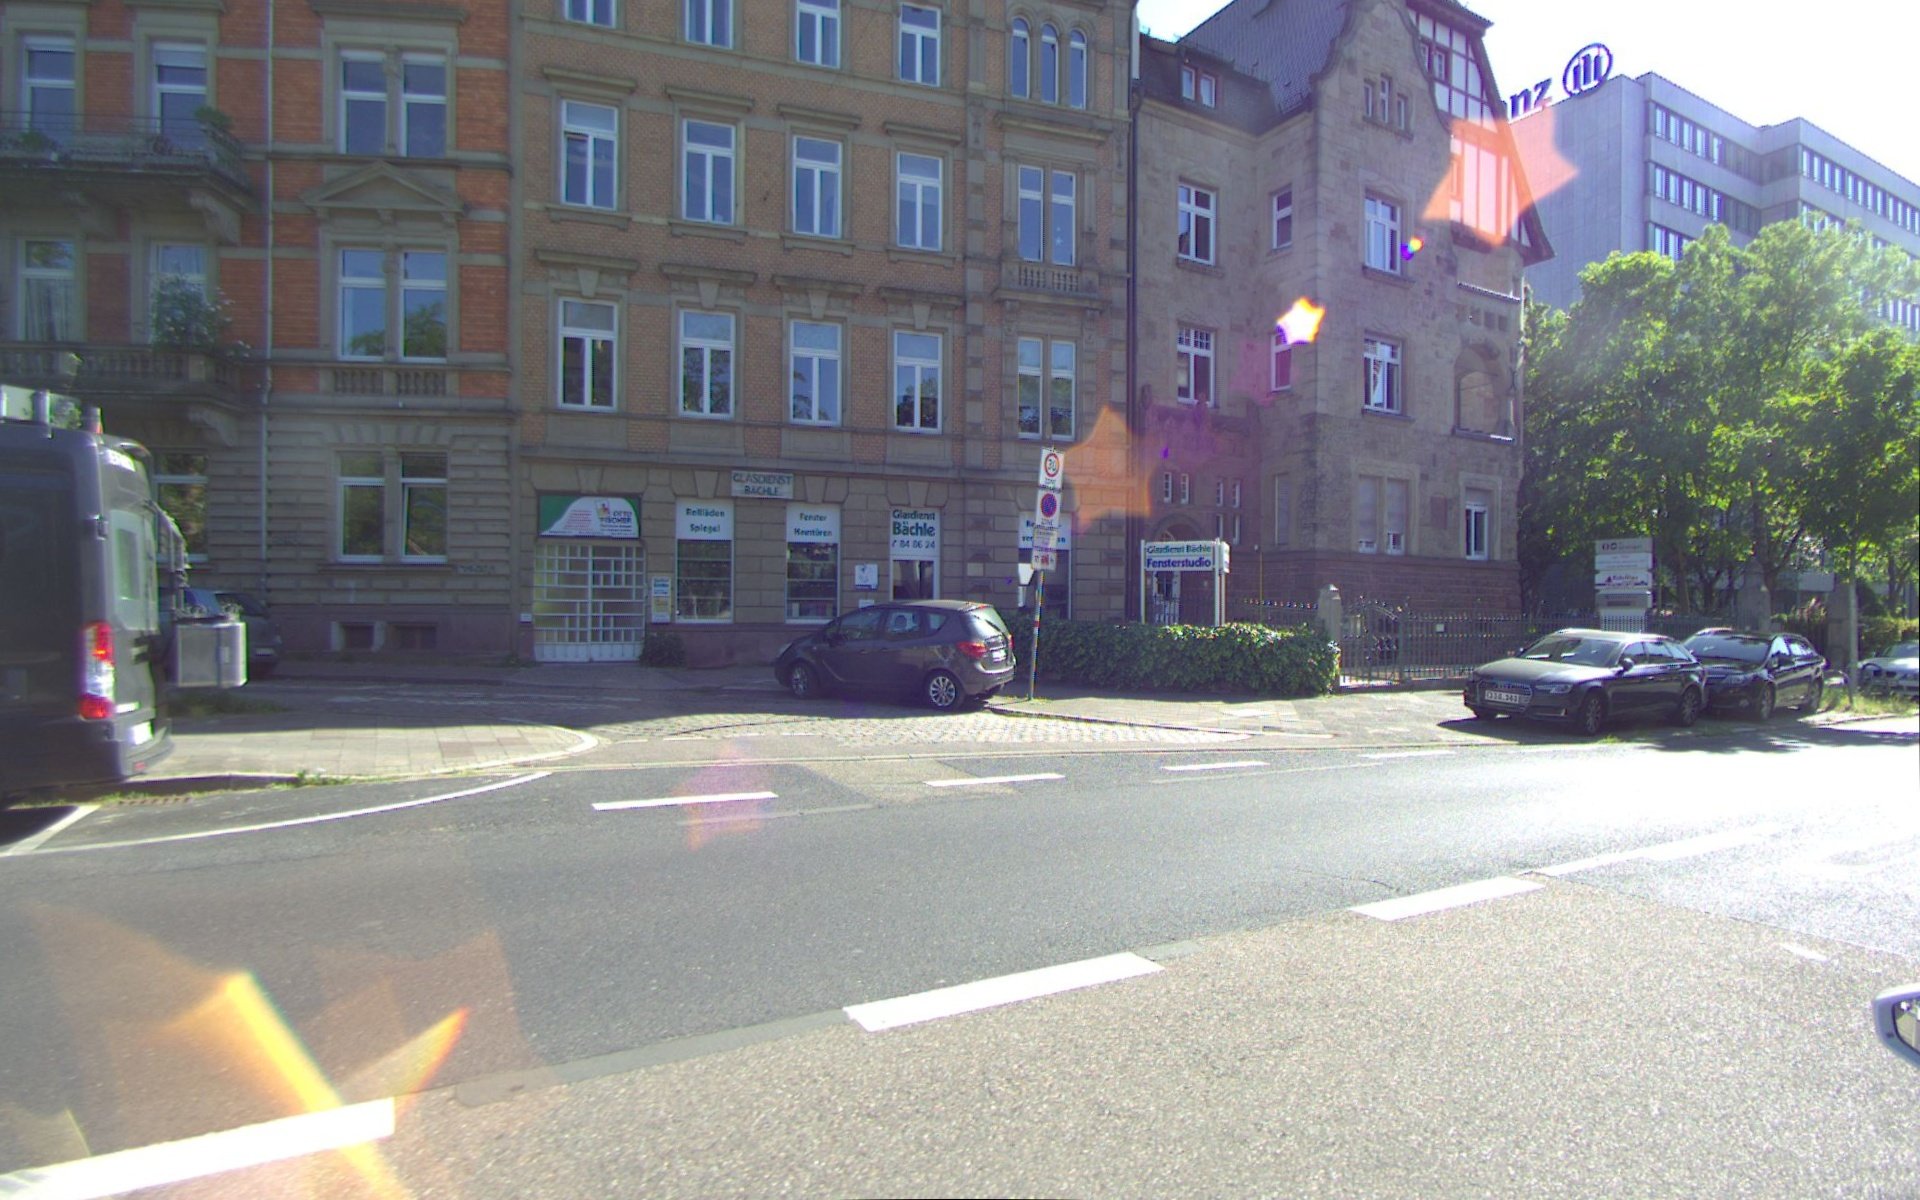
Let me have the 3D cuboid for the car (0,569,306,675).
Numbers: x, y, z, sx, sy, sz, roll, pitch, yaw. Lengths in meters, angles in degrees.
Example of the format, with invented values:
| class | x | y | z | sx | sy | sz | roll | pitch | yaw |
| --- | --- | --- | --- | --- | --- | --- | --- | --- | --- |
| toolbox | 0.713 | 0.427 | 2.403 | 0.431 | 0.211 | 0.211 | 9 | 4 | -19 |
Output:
| class | x | y | z | sx | sy | sz | roll | pitch | yaw |
| --- | --- | --- | --- | --- | --- | --- | --- | --- | --- |
| car | -12.957 | 0.340 | 16.260 | 3.463 | 1.533 | 1.863 | 2 | 0 | -6 |

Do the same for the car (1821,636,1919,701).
| class | x | y | z | sx | sy | sz | roll | pitch | yaw |
| --- | --- | --- | --- | --- | --- | --- | --- | --- | --- |
| car | 21.081 | 1.468 | 22.385 | 3.967 | 1.272 | 1.670 | 1 | 0 | -30 |

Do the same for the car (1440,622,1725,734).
| class | x | y | z | sx | sy | sz | roll | pitch | yaw |
| --- | --- | --- | --- | --- | --- | --- | --- | --- | --- |
| car | 10.048 | 1.159 | 16.142 | 4.664 | 1.447 | 1.847 | 1 | 3 | -30 |

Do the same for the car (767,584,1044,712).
| class | x | y | z | sx | sy | sz | roll | pitch | yaw |
| --- | --- | --- | --- | --- | --- | --- | --- | --- | --- |
| car | -0.903 | 0.677 | 16.446 | 4.067 | 1.693 | 1.997 | 3 | 3 | 27 |

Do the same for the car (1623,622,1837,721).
| class | x | y | z | sx | sy | sz | roll | pitch | yaw |
| --- | --- | --- | --- | --- | --- | --- | --- | --- | --- |
| car | 14.419 | 1.234 | 18.727 | 4.659 | 1.514 | 1.843 | 1 | 2 | -36 |

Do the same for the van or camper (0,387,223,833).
| class | x | y | z | sx | sy | sz | roll | pitch | yaw |
| --- | --- | --- | --- | --- | --- | --- | --- | --- | --- |
| van or camper | -8.371 | 0.039 | 6.110 | 6.018 | 2.775 | 2.205 | 1 | -1 | -31 |
